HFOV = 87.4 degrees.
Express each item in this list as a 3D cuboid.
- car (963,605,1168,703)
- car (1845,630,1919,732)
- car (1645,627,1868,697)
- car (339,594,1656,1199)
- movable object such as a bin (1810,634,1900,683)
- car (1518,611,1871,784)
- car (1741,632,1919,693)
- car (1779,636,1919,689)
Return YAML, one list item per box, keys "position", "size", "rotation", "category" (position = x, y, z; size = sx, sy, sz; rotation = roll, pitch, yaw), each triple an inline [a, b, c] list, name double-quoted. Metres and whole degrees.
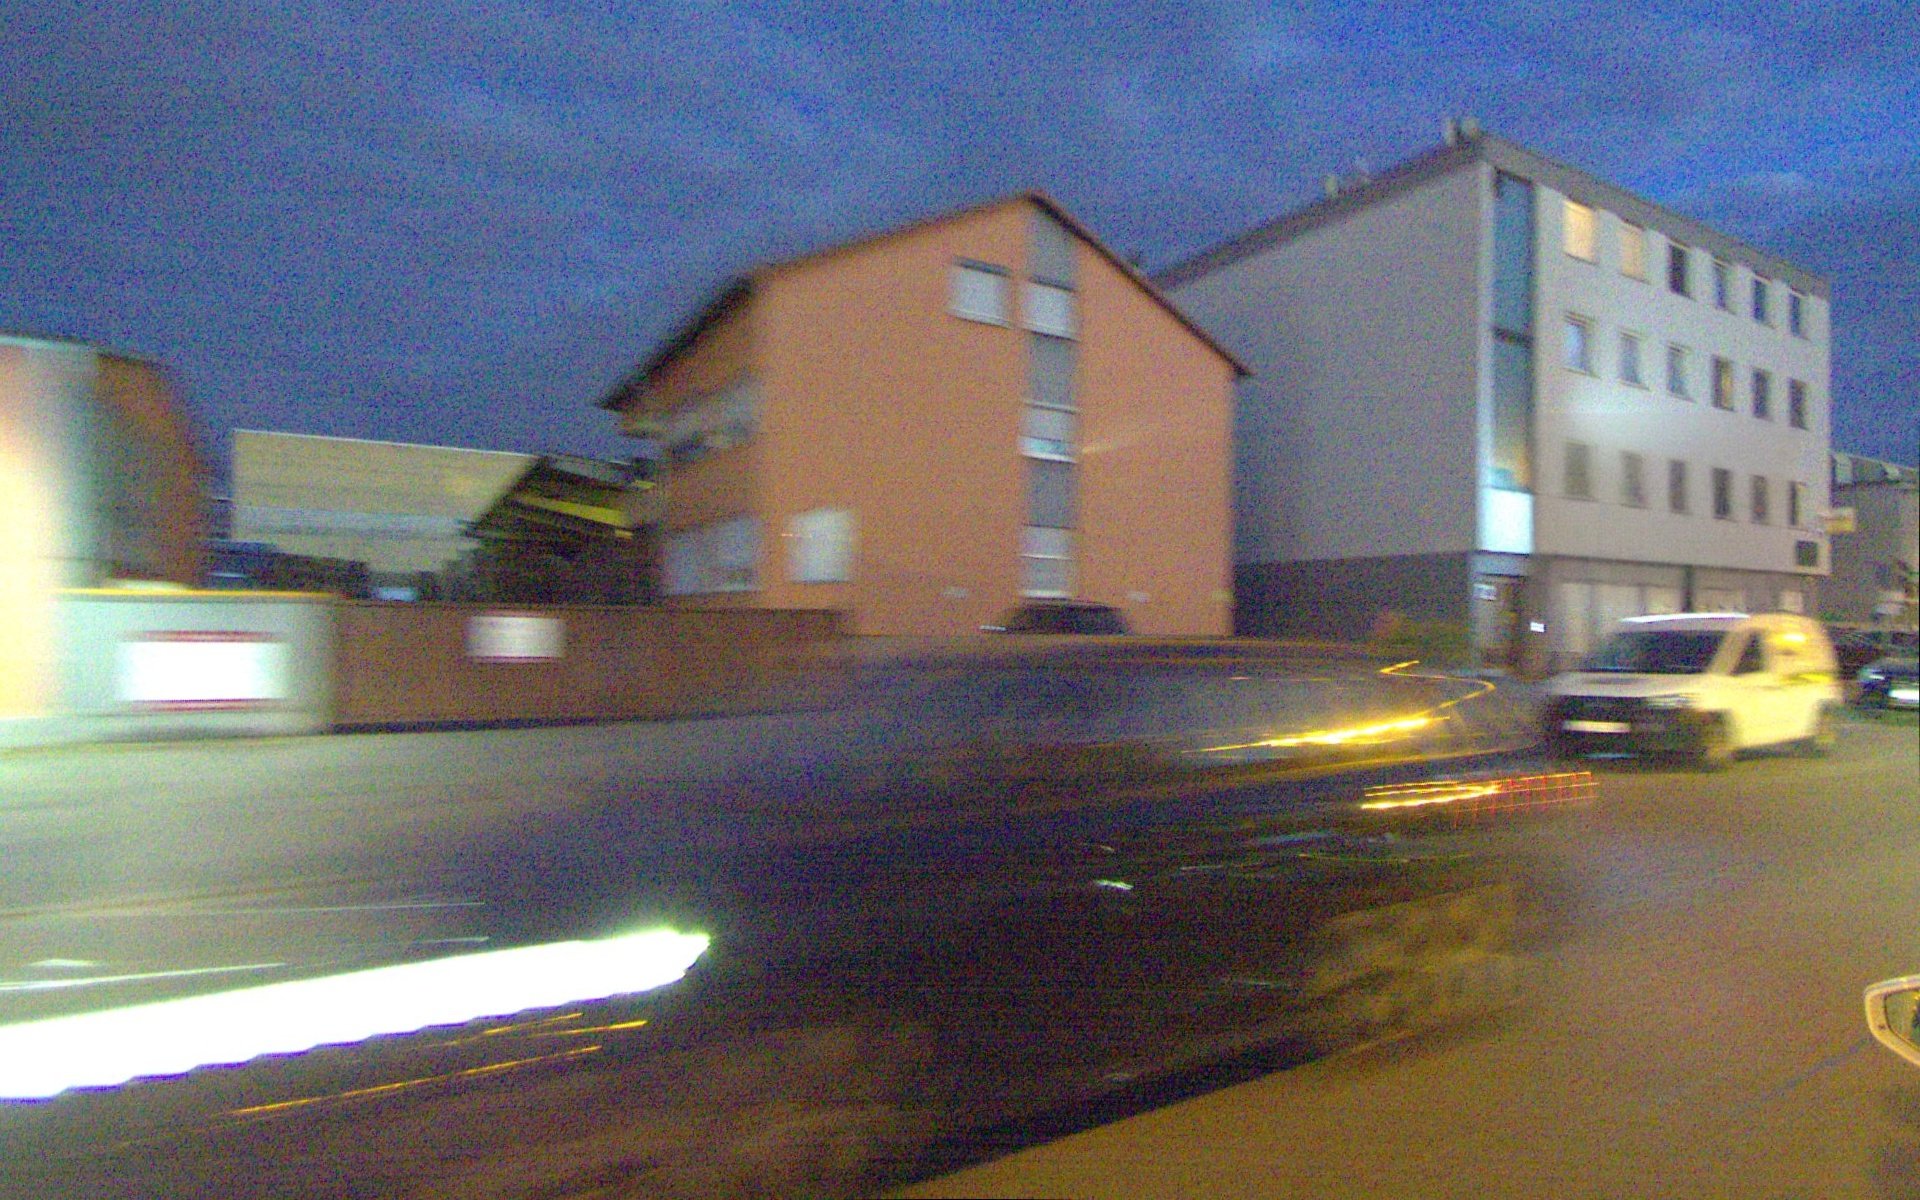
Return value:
- position: [1.899, 0.981, 19.569]
  size: [1.897, 1.675, 4.384]
  rotation: [2, -2, -27]
  category: "car"
- position: [18.272, 1.442, 18.174]
  size: [4.757, 1.710, 1.939]
  rotation: [2, -2, -29]
  category: "car"
- position: [20.281, 1.537, 25.830]
  size: [4.343, 1.580, 1.993]
  rotation: [0, -2, 36]
  category: "car"
- position: [0.386, 0.794, 3.602]
  size: [4.346, 1.456, 1.812]
  rotation: [2, -2, -30]
  category: "car"
- position: [29.987, 1.941, 33.660]
  size: [1.590, 1.520, 1.849]
  rotation: [2, -1, -29]
  category: "movable object such as a bin"
- position: [9.270, 1.109, 12.581]
  size: [4.820, 1.822, 1.796]
  rotation: [2, -2, -30]
  category: "car"
- position: [25.085, 1.738, 28.366]
  size: [4.590, 1.571, 1.996]
  rotation: [0, -2, 32]
  category: "car"
- position: [27.262, 1.839, 29.846]
  size: [4.338, 1.459, 1.790]
  rotation: [0, -2, 32]
  category: "car"
